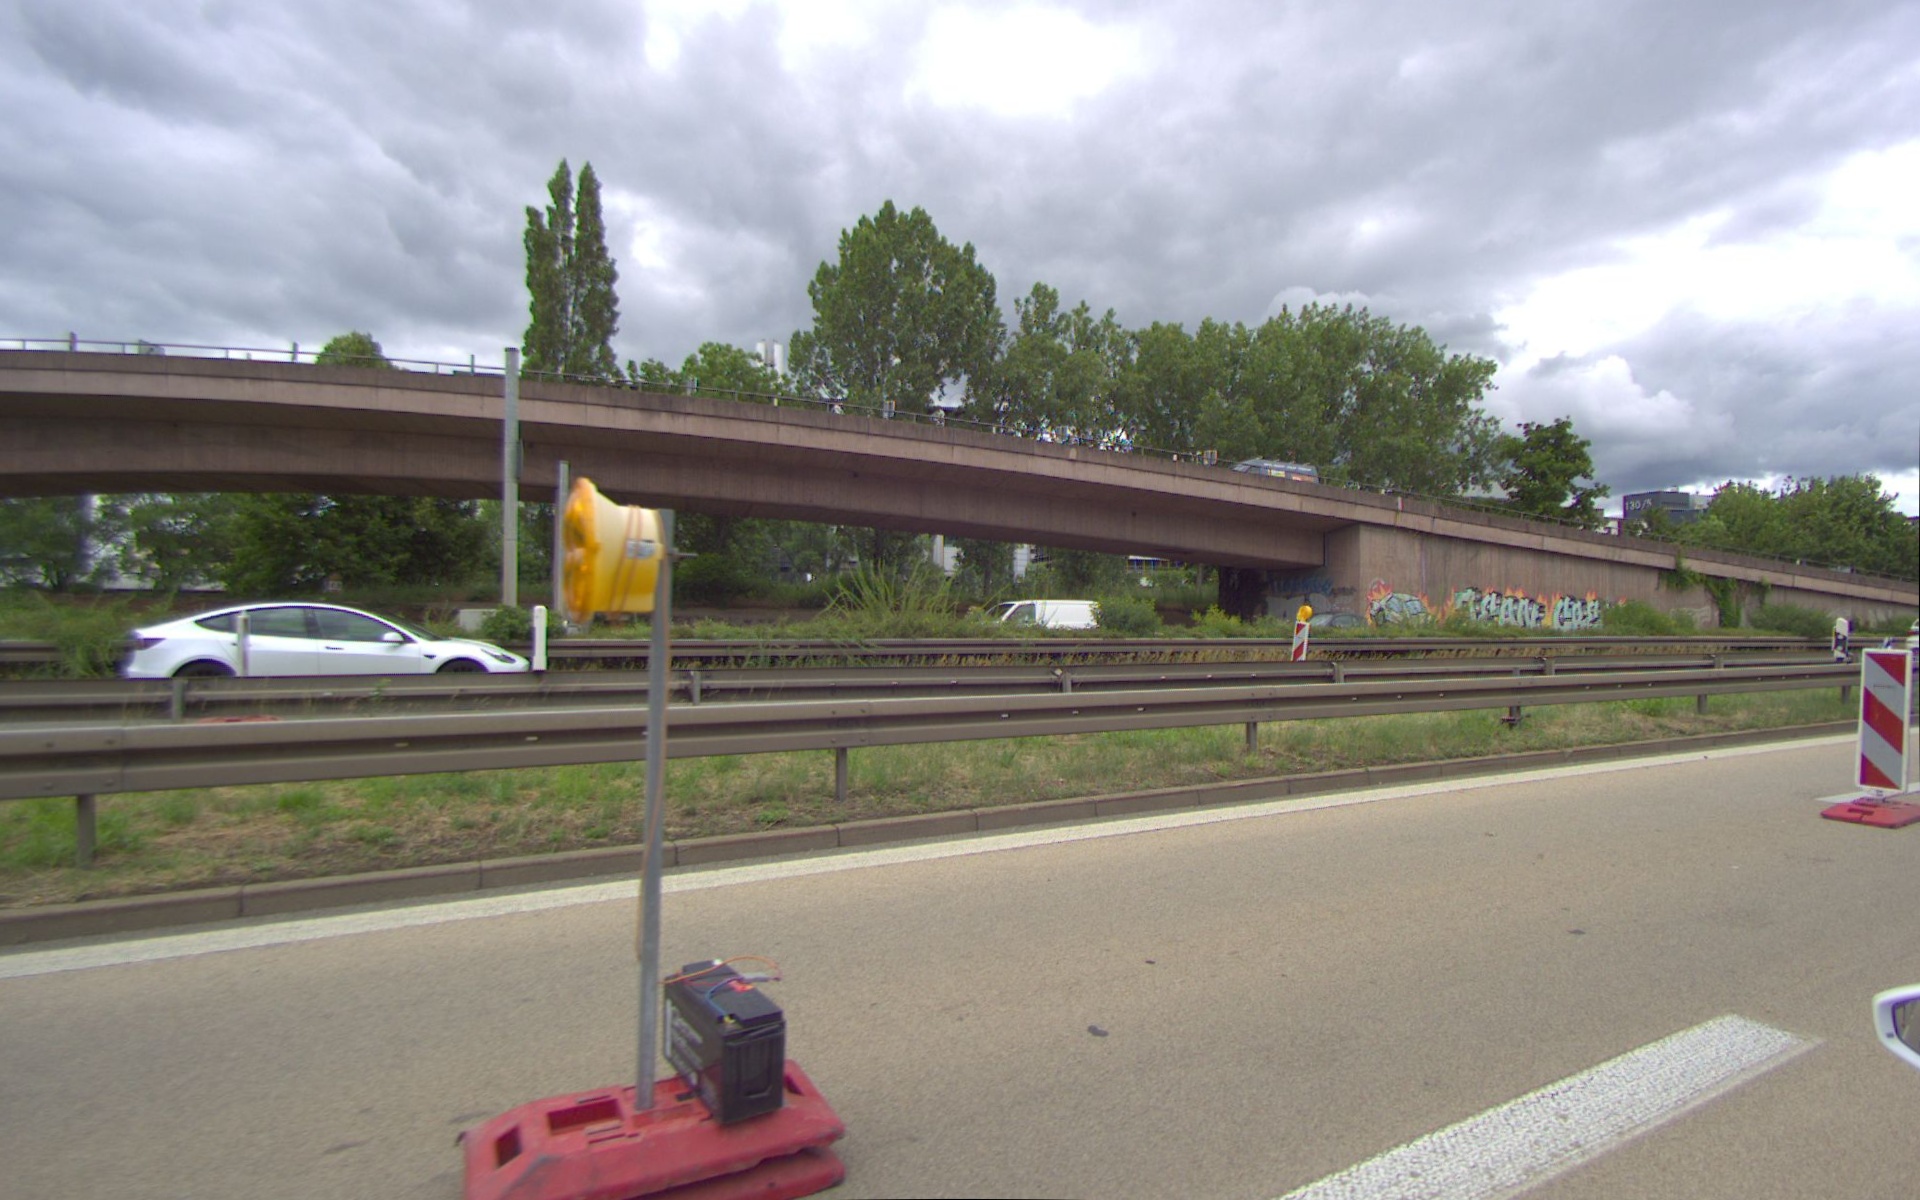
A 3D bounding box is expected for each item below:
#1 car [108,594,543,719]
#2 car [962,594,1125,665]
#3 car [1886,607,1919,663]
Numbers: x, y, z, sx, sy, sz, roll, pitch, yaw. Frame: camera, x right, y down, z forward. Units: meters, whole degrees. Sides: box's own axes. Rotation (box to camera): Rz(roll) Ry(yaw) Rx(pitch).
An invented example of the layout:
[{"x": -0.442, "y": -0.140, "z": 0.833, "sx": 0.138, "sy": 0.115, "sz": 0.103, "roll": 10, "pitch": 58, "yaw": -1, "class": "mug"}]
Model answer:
[{"x": -8.316, "y": 0.742, "z": 13.802, "sx": 4.733, "sy": 1.474, "sz": 1.989, "roll": 2, "pitch": -1, "yaw": -23, "class": "car"}, {"x": 2.592, "y": 0.929, "z": 30.845, "sx": 4.649, "sy": 2.040, "sz": 1.986, "roll": 2, "pitch": -1, "yaw": -28, "class": "car"}, {"x": 31.673, "y": 1.128, "z": 31.830, "sx": 4.043, "sy": 1.735, "sz": 1.989, "roll": 2, "pitch": -1, "yaw": -23, "class": "car"}]
